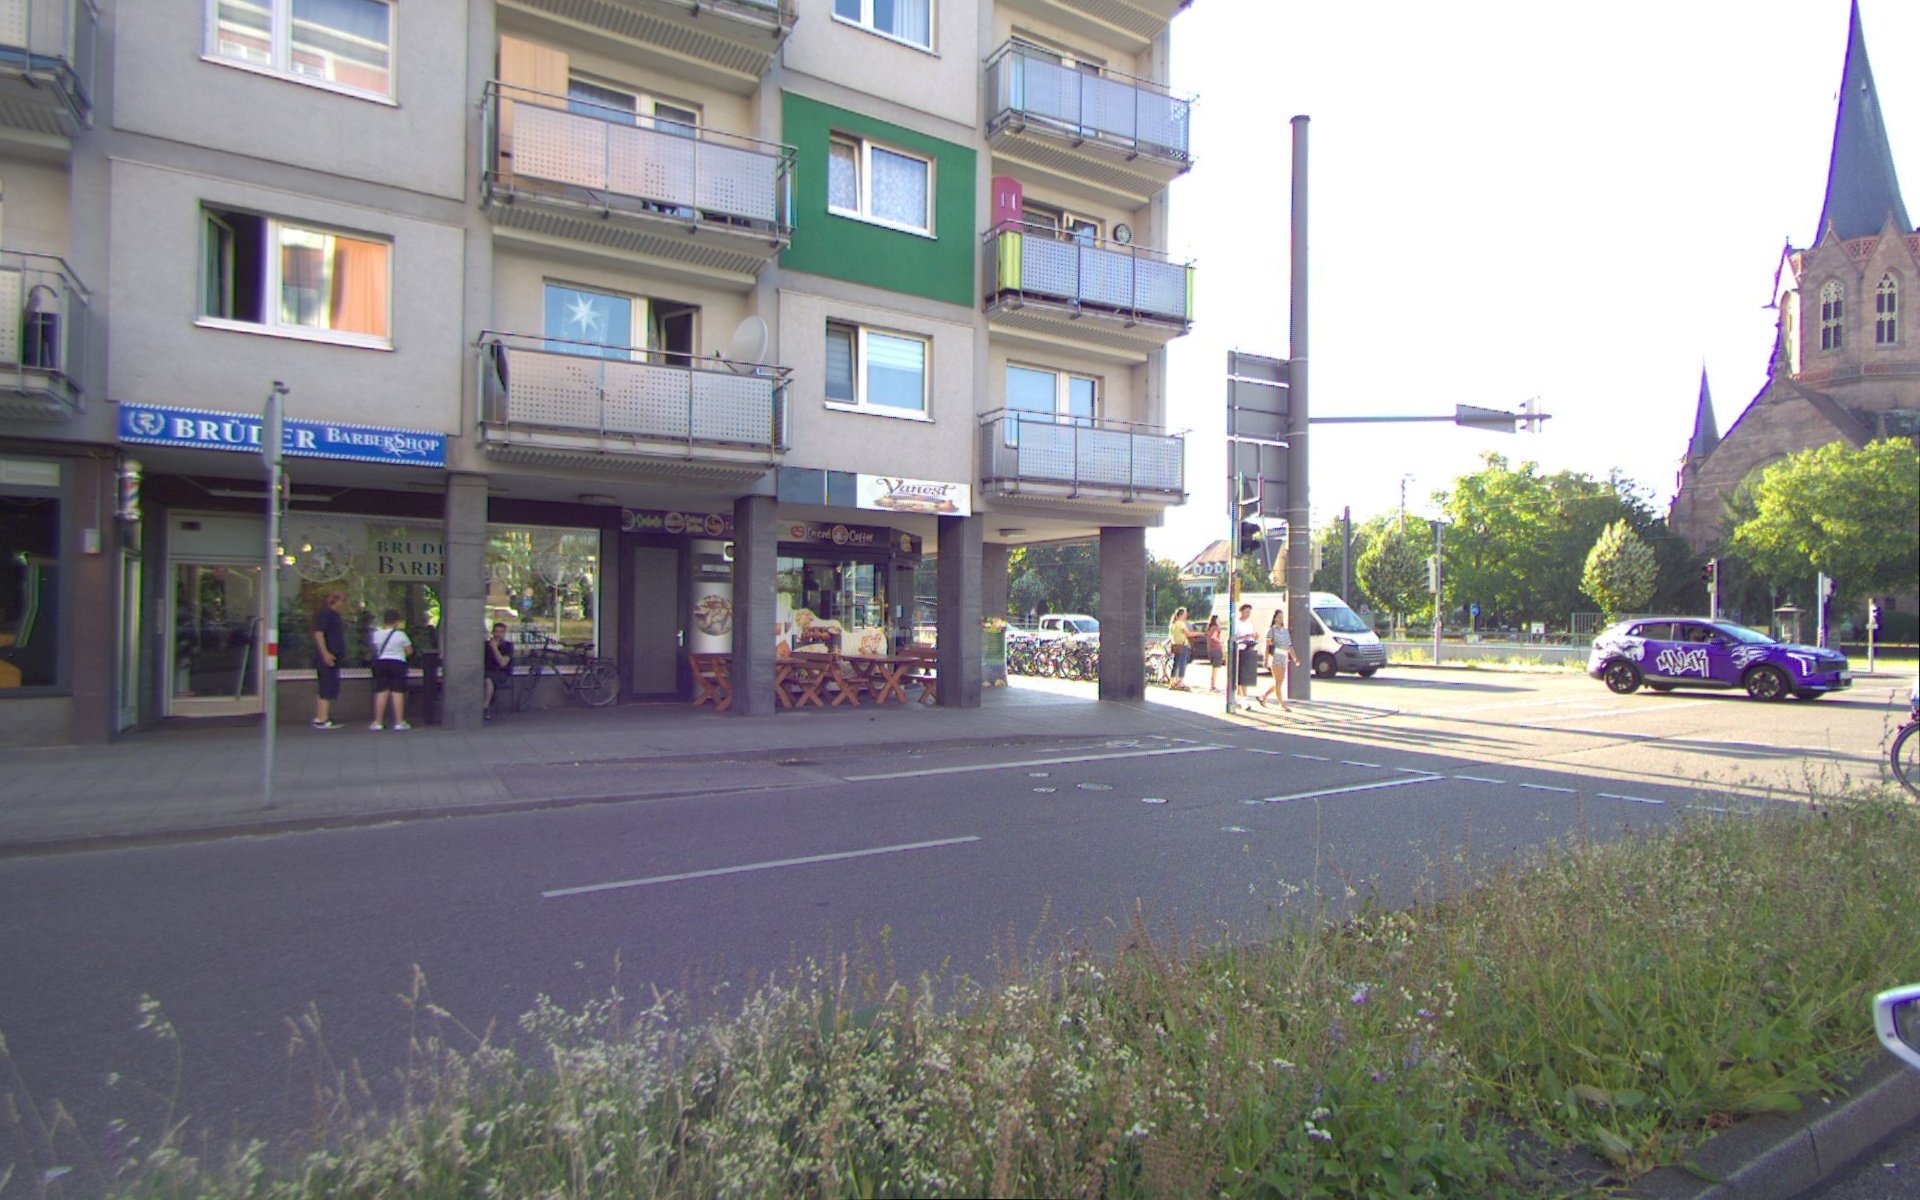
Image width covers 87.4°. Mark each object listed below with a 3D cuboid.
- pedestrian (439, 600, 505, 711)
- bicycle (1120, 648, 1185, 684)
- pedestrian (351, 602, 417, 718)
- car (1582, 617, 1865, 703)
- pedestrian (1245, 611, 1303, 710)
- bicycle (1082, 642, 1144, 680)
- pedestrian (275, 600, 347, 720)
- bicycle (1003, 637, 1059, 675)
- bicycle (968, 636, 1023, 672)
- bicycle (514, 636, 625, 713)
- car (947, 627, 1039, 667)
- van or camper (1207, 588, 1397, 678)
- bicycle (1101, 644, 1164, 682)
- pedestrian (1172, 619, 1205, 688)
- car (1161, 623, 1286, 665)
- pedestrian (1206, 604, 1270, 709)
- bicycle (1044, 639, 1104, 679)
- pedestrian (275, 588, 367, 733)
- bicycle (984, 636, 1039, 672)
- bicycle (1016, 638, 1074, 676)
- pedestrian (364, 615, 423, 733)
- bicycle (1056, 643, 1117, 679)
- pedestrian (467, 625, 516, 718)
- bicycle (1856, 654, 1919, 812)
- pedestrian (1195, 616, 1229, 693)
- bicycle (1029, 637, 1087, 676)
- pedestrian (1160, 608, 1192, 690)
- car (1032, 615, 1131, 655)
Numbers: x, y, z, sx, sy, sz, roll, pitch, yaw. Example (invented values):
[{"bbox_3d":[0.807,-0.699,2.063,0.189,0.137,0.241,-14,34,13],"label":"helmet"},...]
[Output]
[{"bbox_3d":[-7.269,0.811,14.970,0.780,1.599,0.557,1,-1,-37],"label":"pedestrian"},{"bbox_3d":[4.749,1.616,24.731,1.684,0.851,0.493,1,-1,-32],"label":"bicycle"},{"bbox_3d":[-8.190,0.834,14.290,0.778,1.599,0.558,1,-1,-31],"label":"pedestrian"},{"bbox_3d":[15.738,1.159,20.985,1.814,1.594,4.383,1,-1,-29],"label":"car"},{"bbox_3d":[5.592,1.061,17.907,0.664,1.731,0.752,1,-1,-22],"label":"pedestrian"},{"bbox_3d":[3.953,1.559,25.887,1.684,0.919,0.493,1,-1,-32],"label":"bicycle"},{"bbox_3d":[-8.909,0.810,13.807,0.778,1.599,0.558,1,-1,-31],"label":"pedestrian"},{"bbox_3d":[2.083,1.613,29.335,0.491,1.049,1.928,0,-1,45],"label":"bicycle"},{"bbox_3d":[1.097,1.645,30.741,0.491,1.049,1.928,0,-1,45],"label":"bicycle"},{"bbox_3d":[-5.856,1.100,15.098,1.441,1.095,0.584,2,-2,-34],"label":"bicycle"},{"bbox_3d":[1.394,2.024,44.351,1.938,1.640,4.461,1,-1,-31],"label":"car"},{"bbox_3d":[10.112,0.964,30.204,2.139,2.448,5.397,1,-1,-29],"label":"van or camper"},{"bbox_3d":[4.379,1.590,25.420,1.684,0.919,0.493,1,-1,-32],"label":"bicycle"},{"bbox_3d":[5.220,1.221,22.972,0.570,1.551,0.465,1,-1,-32],"label":"pedestrian"},{"bbox_3d":[9.724,1.593,37.427,1.938,1.427,4.461,1,-1,-31],"label":"car"},{"bbox_3d":[4.873,0.979,17.631,0.664,1.781,0.921,1,-1,-22],"label":"pedestrian"},{"bbox_3d":[3.109,1.590,27.384,1.684,1.052,0.493,1,-1,-32],"label":"bicycle"},{"bbox_3d":[-7.860,0.728,12.372,0.764,1.723,0.561,0,-1,13],"label":"pedestrian"},{"bbox_3d":[1.571,1.609,30.144,0.491,1.049,1.928,0,-1,45],"label":"bicycle"},{"bbox_3d":[2.430,1.602,28.609,1.684,1.049,0.493,1,-1,-32],"label":"bicycle"},{"bbox_3d":[-6.889,0.885,12.224,0.472,1.402,0.484,1,-1,-11],"label":"pedestrian"},{"bbox_3d":[3.381,1.608,26.805,1.684,0.919,0.493,1,-1,-32],"label":"bicycle"},{"bbox_3d":[-6.493,0.983,13.941,0.522,1.256,0.556,1,-1,-16],"label":"pedestrian"},{"bbox_3d":[8.023,1.041,7.534,0.726,1.204,1.818,1,-1,-31],"label":"bicycle"},{"bbox_3d":[5.529,1.183,22.030,0.566,1.663,0.468,1,-1,-11],"label":"pedestrian"},{"bbox_3d":[2.749,1.561,28.060,1.684,1.044,0.493,1,-1,-32],"label":"bicycle"},{"bbox_3d":[4.796,1.080,22.308,0.464,1.792,0.550,1,-1,-29],"label":"pedestrian"},{"bbox_3d":[5.307,1.517,44.378,2.096,1.694,4.433,1,-1,-30],"label":"car"}]
